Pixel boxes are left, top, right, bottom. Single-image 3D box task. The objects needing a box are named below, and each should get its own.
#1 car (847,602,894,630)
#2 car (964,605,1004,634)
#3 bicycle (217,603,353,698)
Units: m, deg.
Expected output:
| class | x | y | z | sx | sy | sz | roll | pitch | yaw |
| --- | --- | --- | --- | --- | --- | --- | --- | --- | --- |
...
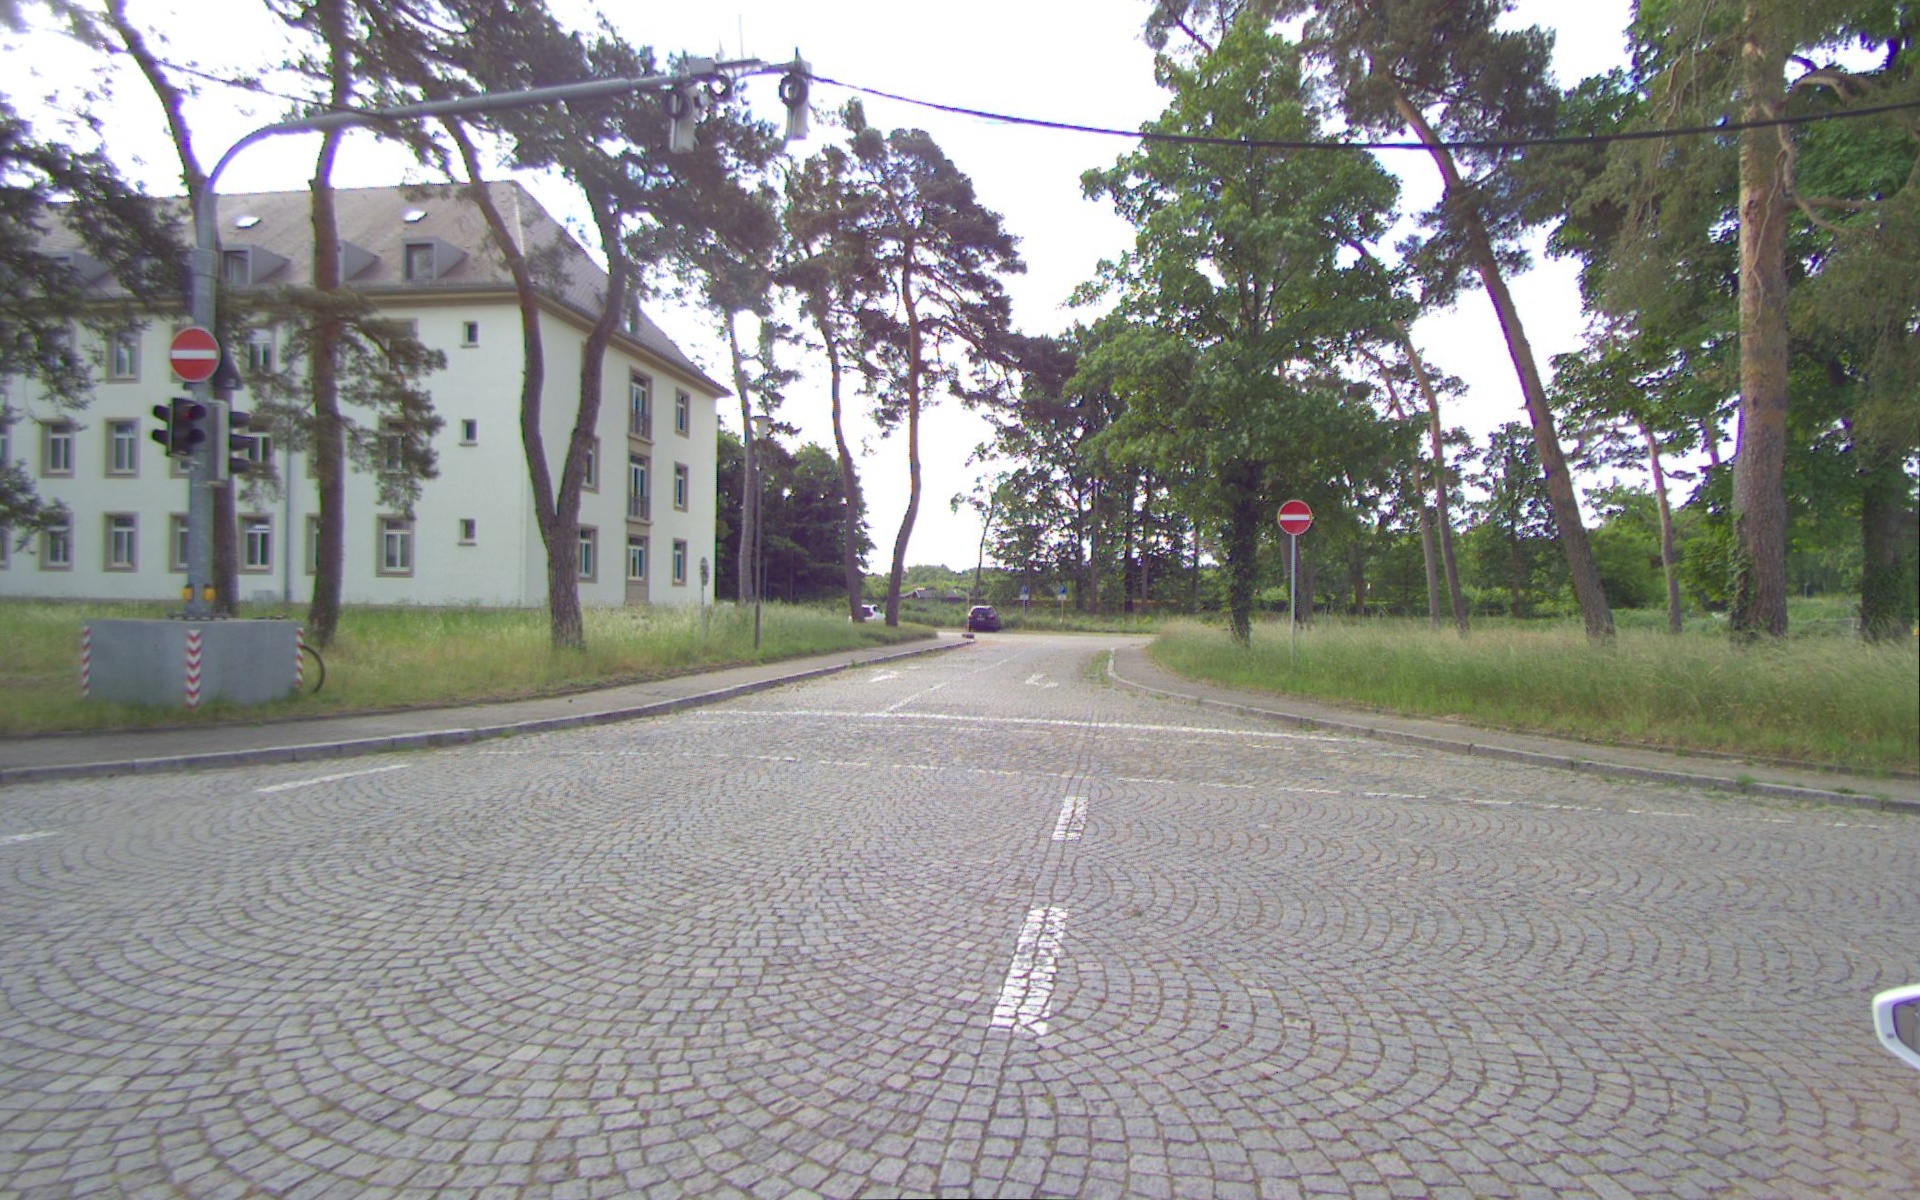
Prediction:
| class | x | y | z | sx | sy | sz | roll | pitch | yaw |
| --- | --- | --- | --- | --- | --- | --- | --- | --- | --- |
| car | -5.550 | 0.968 | 63.043 | 1.682 | 1.632 | 4.060 | 3 | 0 | 13 |
| car | 1.492 | 1.164 | 61.195 | 1.682 | 1.632 | 4.060 | 3 | 0 | 11 |
| bicycle | -8.334 | 0.614 | 12.413 | 1.388 | 1.089 | 0.498 | 2 | 3 | 6 |
